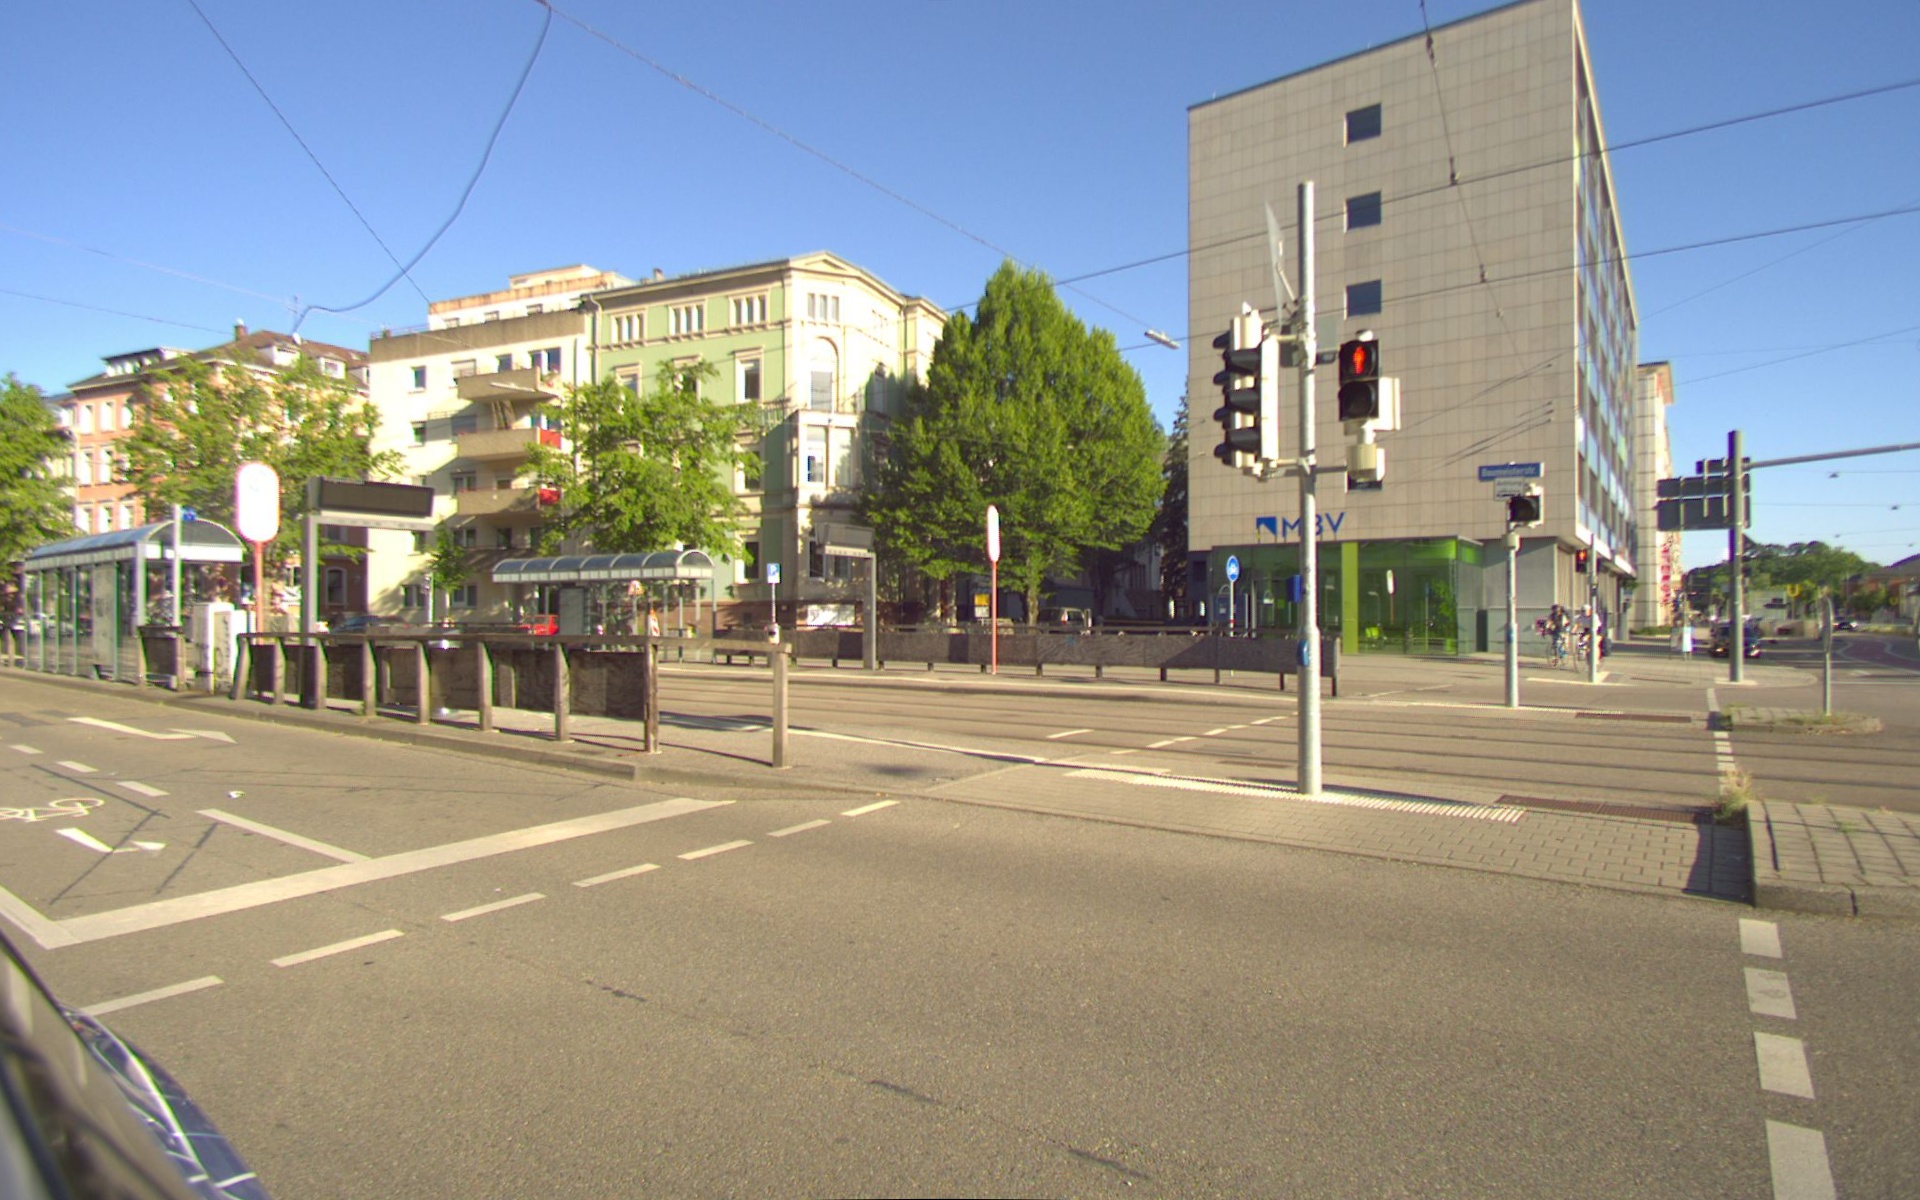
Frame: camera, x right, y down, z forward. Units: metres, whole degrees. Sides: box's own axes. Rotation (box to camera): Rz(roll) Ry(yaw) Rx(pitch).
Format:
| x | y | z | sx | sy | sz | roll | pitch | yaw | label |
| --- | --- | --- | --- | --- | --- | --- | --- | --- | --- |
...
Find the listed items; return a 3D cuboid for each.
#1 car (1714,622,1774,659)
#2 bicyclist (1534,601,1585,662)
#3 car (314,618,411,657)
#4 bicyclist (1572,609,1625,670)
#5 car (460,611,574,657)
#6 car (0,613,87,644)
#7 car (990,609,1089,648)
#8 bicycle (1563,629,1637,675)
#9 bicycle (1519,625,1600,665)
| x | y | z | sx | sy | sz | roll | pitch | yaw | label |
| --- | --- | --- | --- | --- | --- | --- | --- | --- | --- |
| 35.367 | 1.774 | 45.747 | 1.996 | 1.585 | 4.493 | -1 | -2 | 37 | car |
| 17.040 | 0.887 | 28.770 | 0.931 | 1.703 | 0.765 | 0 | 2 | -6 | bicyclist |
| -26.231 | 1.604 | 44.426 | 3.975 | 1.597 | 1.727 | 0 | 0 | 24 | car |
| 16.788 | 1.033 | 26.613 | 0.892 | 1.518 | 0.891 | -1 | 2 | -35 | bicyclist |
| -17.065 | 1.277 | 39.179 | 1.729 | 1.597 | 3.971 | 0 | 0 | 22 | car |
| -52.387 | 1.608 | 57.956 | 1.713 | 1.597 | 4.007 | -1 | 0 | -8 | car |
| 3.489 | 1.229 | 44.543 | 3.987 | 1.597 | 1.721 | 0 | 0 | 32 | car |
| 16.939 | 1.360 | 26.755 | 2.147 | 1.075 | 0.886 | -1 | 2 | -35 | bicycle |
| 17.034 | 1.280 | 28.769 | 1.878 | 1.075 | 0.756 | 0 | 1 | -6 | bicycle |
